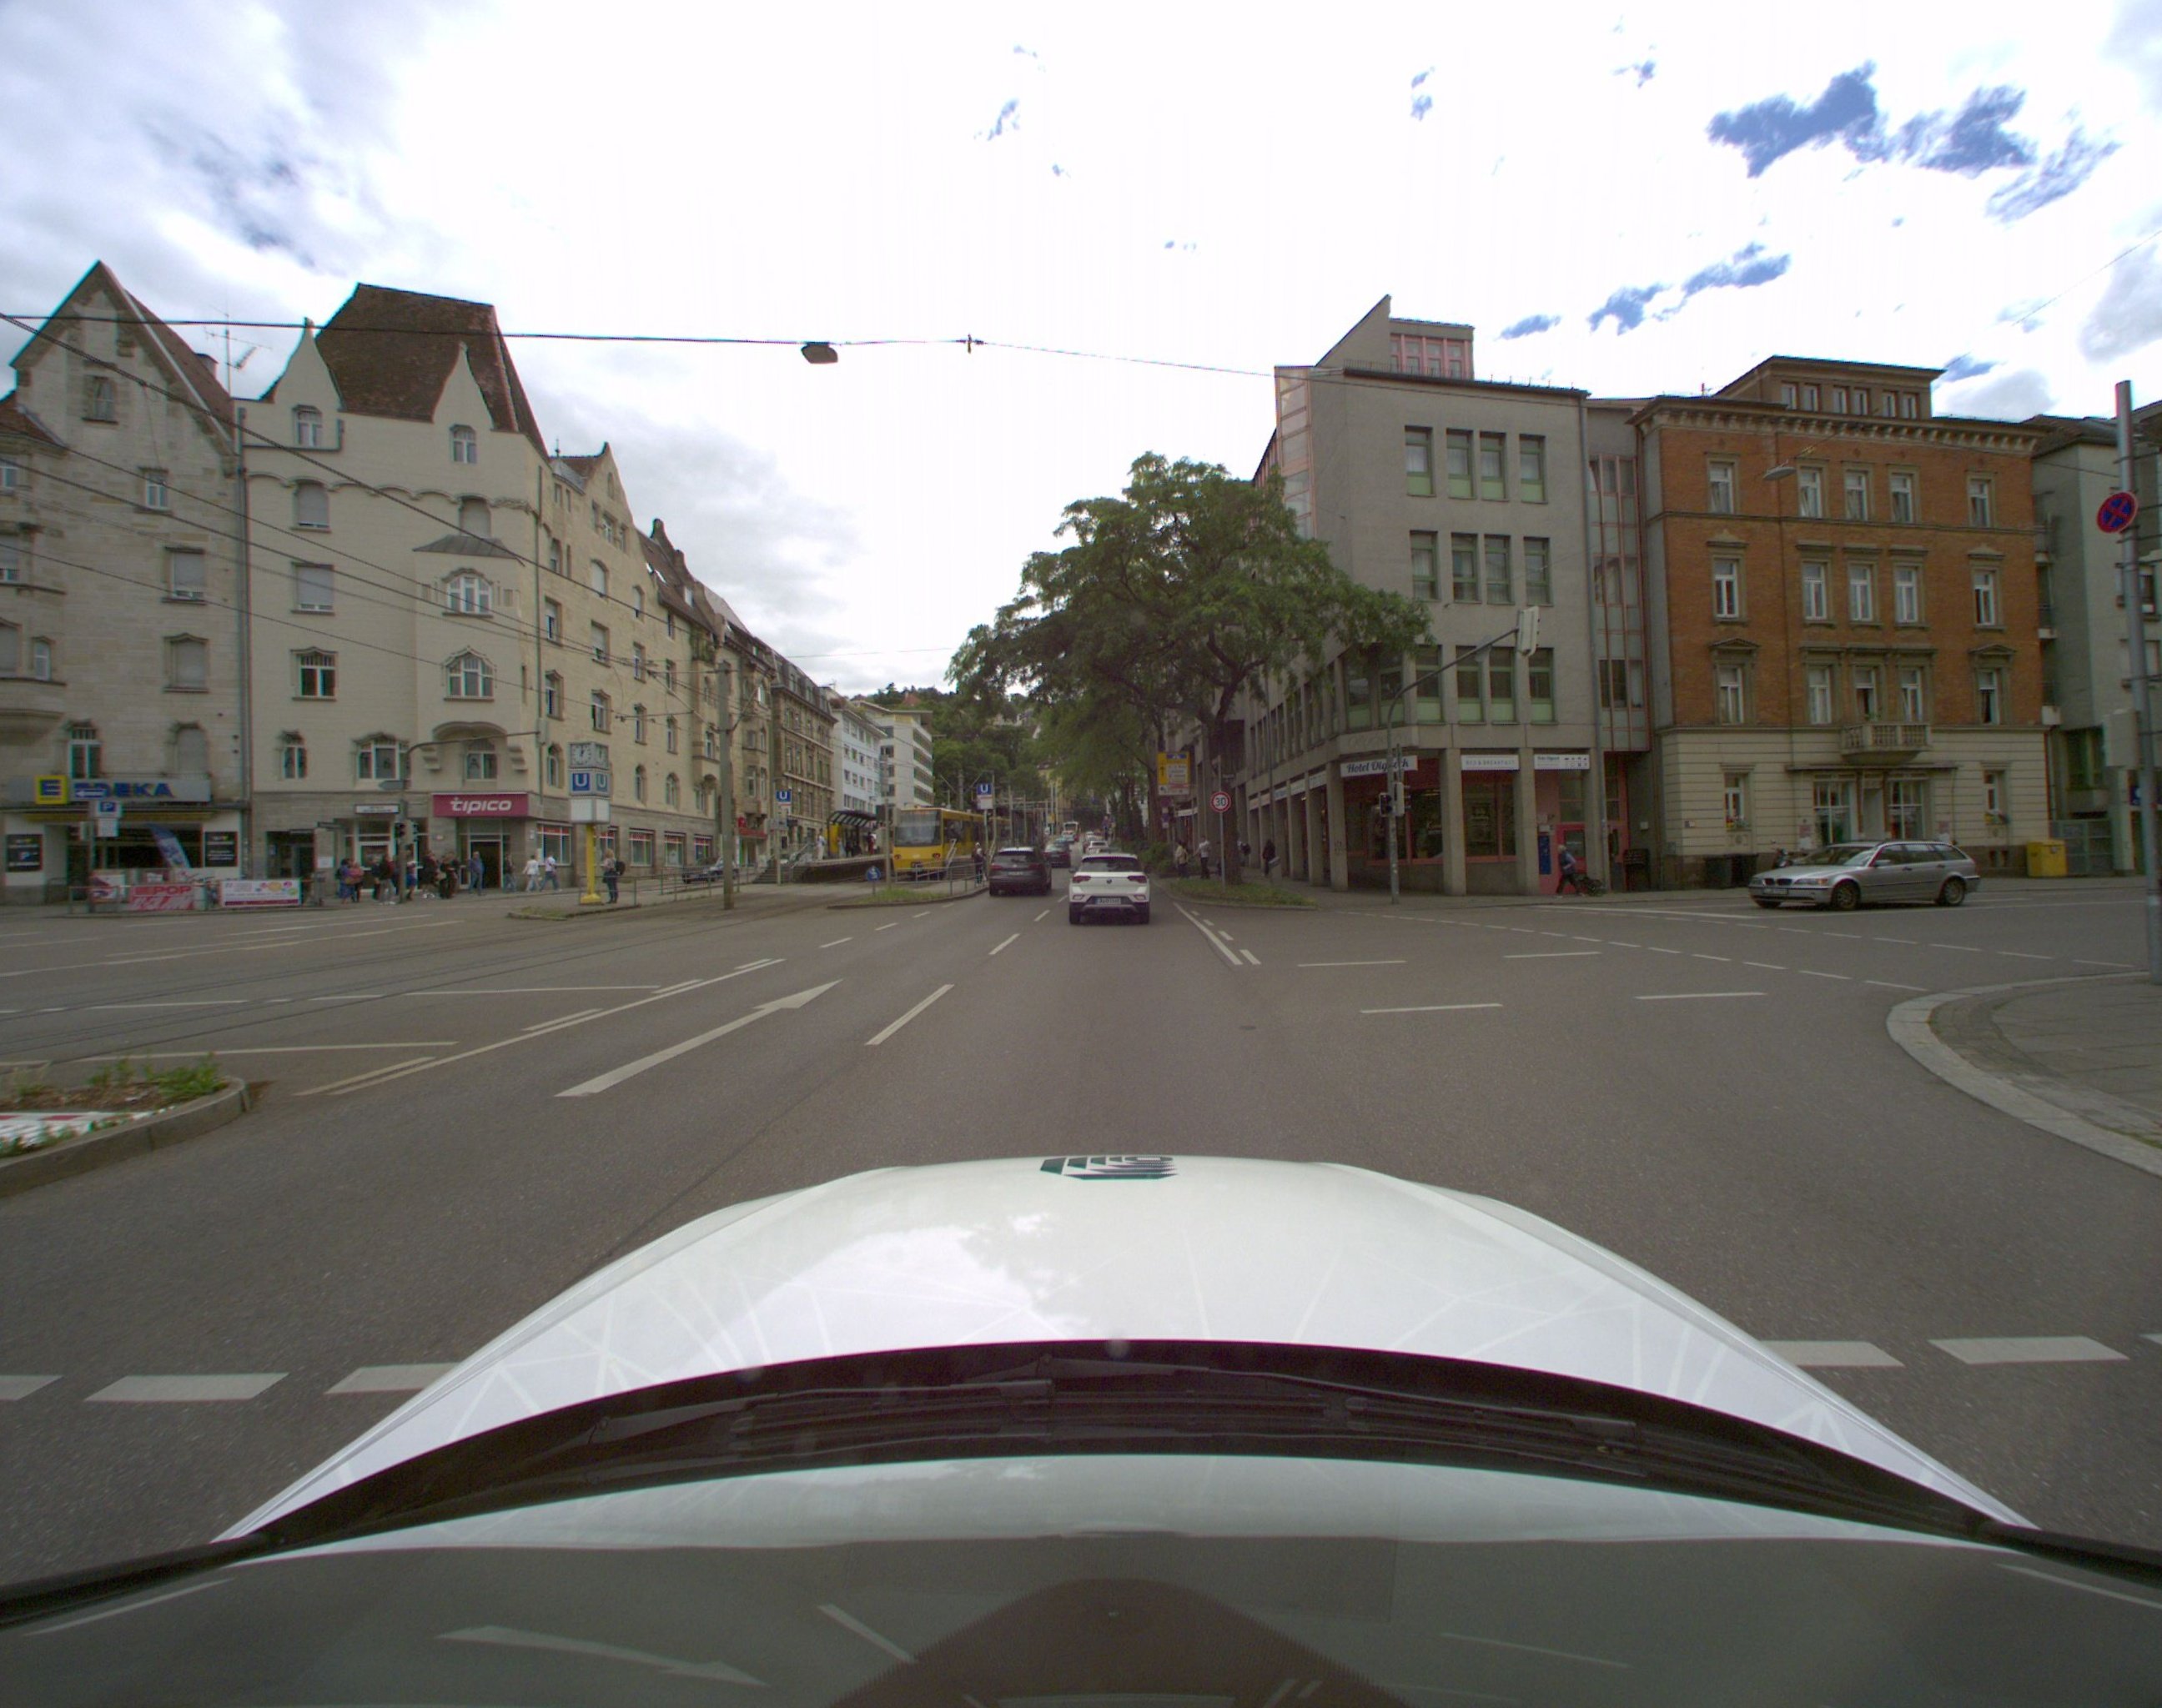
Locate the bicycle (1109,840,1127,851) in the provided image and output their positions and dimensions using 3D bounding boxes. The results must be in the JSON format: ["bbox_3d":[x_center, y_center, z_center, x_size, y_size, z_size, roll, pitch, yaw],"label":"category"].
[{"bbox_3d":[4.196,-0.960,91.597,1.869,1.266,0.767,0,0,11],"label":"bicycle"}]

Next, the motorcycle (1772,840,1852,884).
[{"bbox_3d":[23.241,0.249,25.882,2.666,1.297,1.141,-1,0,-30],"label":"motorcycle"}]

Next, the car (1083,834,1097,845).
[{"bbox_3d":[1.470,-2.306,133.837,1.881,1.684,4.155,0,0,-4],"label":"car"}]

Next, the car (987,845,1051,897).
[{"bbox_3d":[-2.129,0.549,29.006,1.987,1.635,3.999,-1,1,-1],"label":"car"}]

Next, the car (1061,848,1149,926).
[{"bbox_3d":[0.650,0.677,19.162,1.829,1.583,4.162,0,1,4],"label":"car"}]

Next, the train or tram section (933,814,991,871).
[{"bbox_3d":[-7.676,-0.731,53.268,2.825,3.520,5.753,0,1,1],"label":"train or tram section"}]

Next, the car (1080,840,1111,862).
[{"bbox_3d":[1.093,-0.205,63.809,1.883,1.684,4.152,0,0,-6],"label":"car"}]

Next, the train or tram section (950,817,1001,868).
[{"bbox_3d":[-7.565,-0.828,59.050,2.825,3.520,5.753,0,1,1],"label":"train or tram section"}]

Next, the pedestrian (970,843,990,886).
[{"bbox_3d":[-4.067,0.415,32.791,0.633,1.711,0.871,-1,1,0],"label":"pedestrian"}]

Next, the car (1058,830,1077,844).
[{"bbox_3d":[-2.016,-2.581,123.879,2.354,2.013,5.153,0,0,4],"label":"car"}]

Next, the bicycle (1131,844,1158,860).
[{"bbox_3d":[4.746,-0.135,60.851,1.911,1.076,0.613,-4,1,-3],"label":"bicycle"}]

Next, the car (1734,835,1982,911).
[{"bbox_3d":[16.669,0.373,17.542,4.151,1.428,1.847,-1,0,-12],"label":"car"}]

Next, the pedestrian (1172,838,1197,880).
[{"bbox_3d":[4.385,0.208,34.564,0.834,1.704,0.763,-3,1,-4],"label":"pedestrian"}]

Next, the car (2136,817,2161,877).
[{"bbox_3d":[29.255,-0.221,20.294,4.259,1.489,1.992,-1,0,-12],"label":"car"}]

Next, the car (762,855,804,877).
[{"bbox_3d":[-21.198,0.838,57.980,1.553,1.523,3.602,0,0,2],"label":"car"}]

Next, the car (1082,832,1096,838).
[{"bbox_3d":[1.495,-3.631,155.344,1.569,1.172,3.697,0,0,20],"label":"car"}]

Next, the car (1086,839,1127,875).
[{"bbox_3d":[1.231,0.148,40.900,1.879,1.684,4.160,0,0,0],"label":"car"}]

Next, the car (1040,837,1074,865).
[{"bbox_3d":[-1.487,-0.227,51.510,1.904,1.689,4.003,0,2,2],"label":"car"}]

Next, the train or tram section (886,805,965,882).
[{"bbox_3d":[-7.843,-0.544,41.745,2.825,3.678,5.753,0,1,1],"label":"train or tram section"}]

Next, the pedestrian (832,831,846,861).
[{"bbox_3d":[-14.239,-0.476,47.939,0.635,1.711,0.688,-1,1,-9],"label":"pedestrian"}]

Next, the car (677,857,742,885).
[{"bbox_3d":[-20.754,0.907,45.683,1.624,1.375,3.788,-3,0,5],"label":"car"}]

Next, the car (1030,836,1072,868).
[{"bbox_3d":[-1.905,-0.111,53.439,2.355,2.013,5.151,0,0,2],"label":"car"}]

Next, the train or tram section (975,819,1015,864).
[{"bbox_3d":[-7.386,-1.079,70.650,2.803,3.666,5.903,0,1,1],"label":"train or tram section"}]

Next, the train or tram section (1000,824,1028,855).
[{"bbox_3d":[-7.982,-1.739,97.860,2.805,3.666,6.749,0,1,-1],"label":"train or tram section"}]

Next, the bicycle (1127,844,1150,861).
[{"bbox_3d":[4.194,-0.122,59.628,1.613,1.128,0.614,-4,1,3],"label":"bicycle"}]

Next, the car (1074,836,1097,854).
[{"bbox_3d":[0.564,-1.073,99.771,2.361,2.013,5.139,0,0,-5],"label":"car"}]

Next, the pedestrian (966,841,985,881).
[{"bbox_3d":[-4.662,0.308,36.008,0.683,1.711,0.712,-1,1,0],"label":"pedestrian"}]

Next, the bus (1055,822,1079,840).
[{"bbox_3d":[-2.727,-4.378,157.089,3.368,3.064,13.295,0,0,-6],"label":"bus"}]

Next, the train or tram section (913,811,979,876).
[{"bbox_3d":[-7.762,-0.605,47.513,2.825,3.520,5.753,0,1,1],"label":"train or tram section"}]

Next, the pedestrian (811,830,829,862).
[{"bbox_3d":[-14.055,-0.435,43.876,0.686,1.711,0.662,-1,1,-1],"label":"pedestrian"}]

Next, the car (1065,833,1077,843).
[{"bbox_3d":[-1.566,-2.636,135.026,1.878,1.684,4.161,0,0,1],"label":"car"}]
